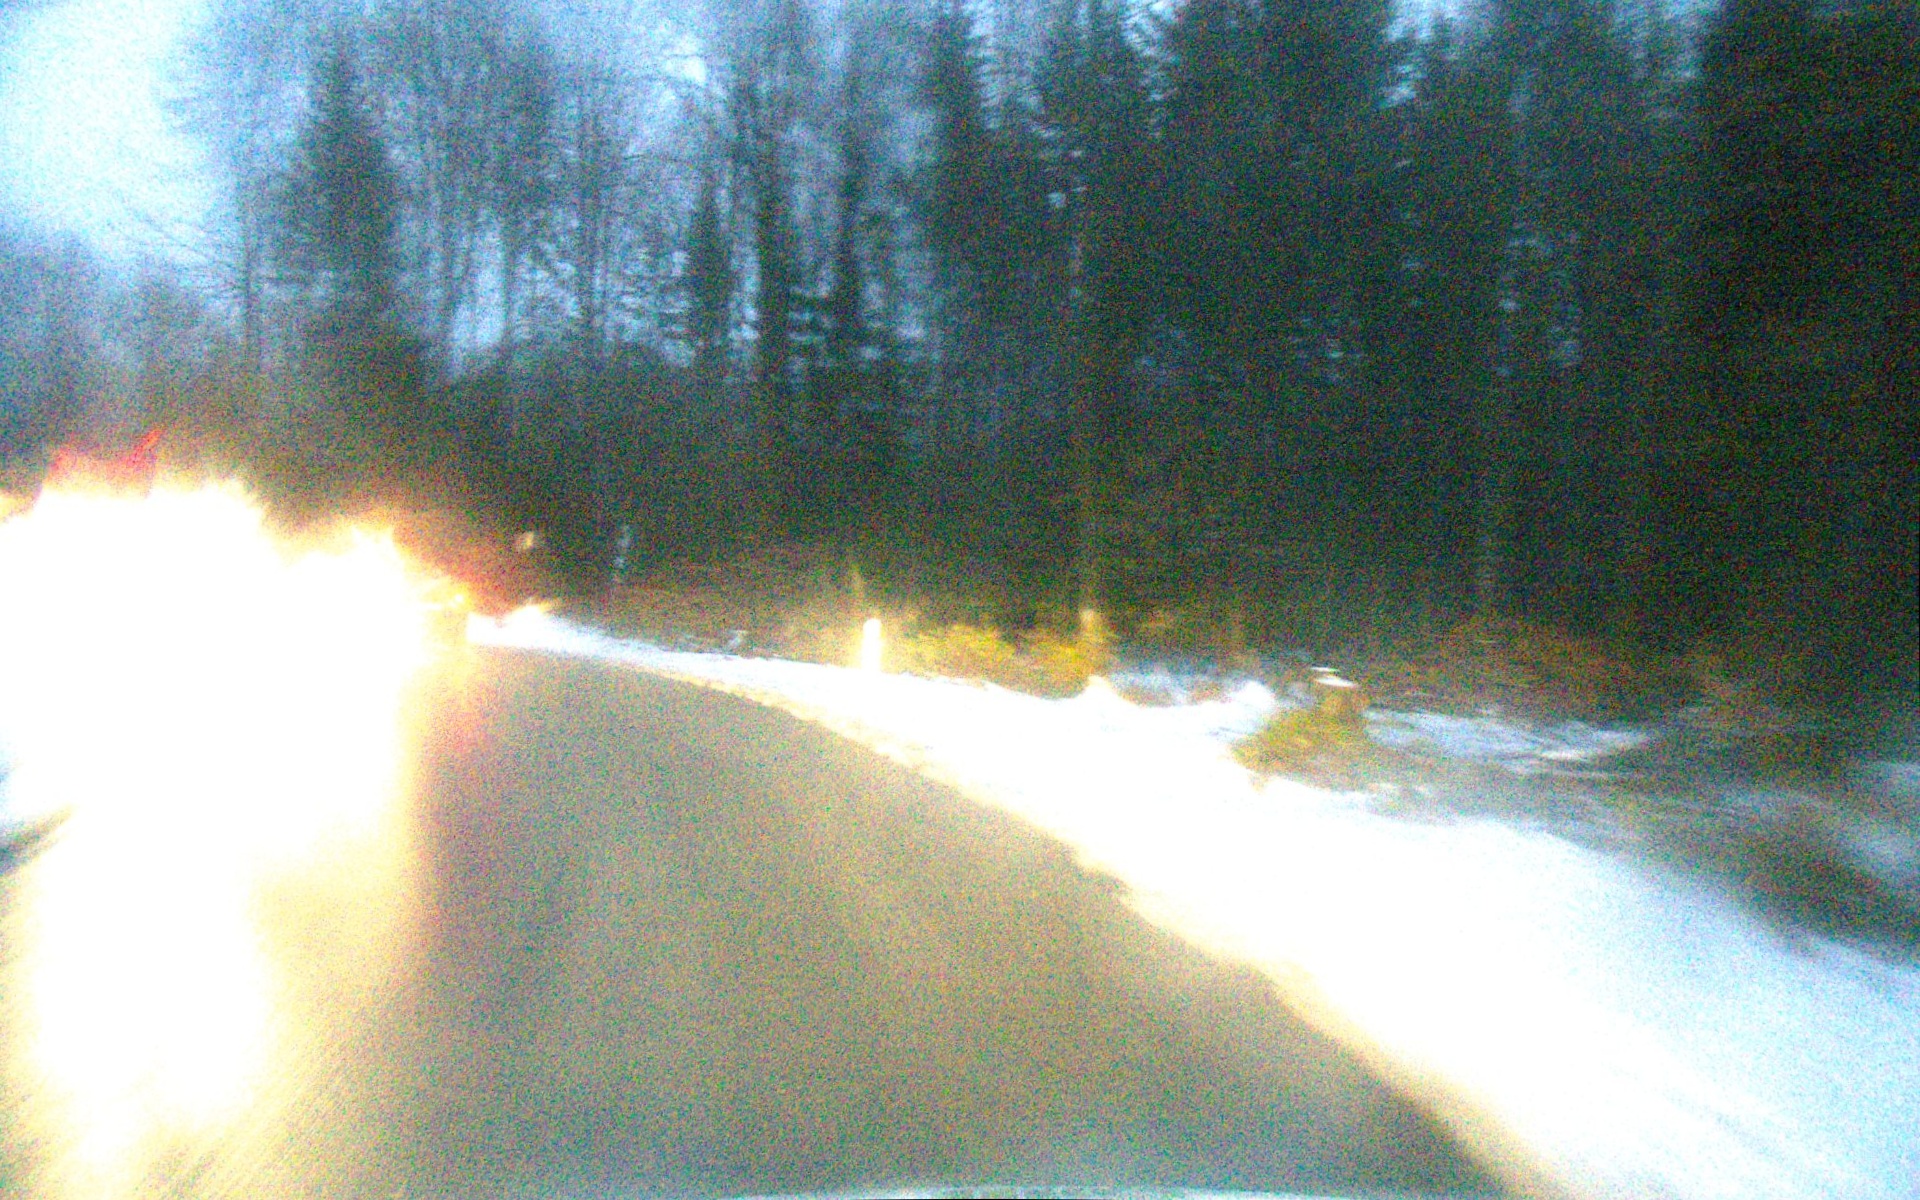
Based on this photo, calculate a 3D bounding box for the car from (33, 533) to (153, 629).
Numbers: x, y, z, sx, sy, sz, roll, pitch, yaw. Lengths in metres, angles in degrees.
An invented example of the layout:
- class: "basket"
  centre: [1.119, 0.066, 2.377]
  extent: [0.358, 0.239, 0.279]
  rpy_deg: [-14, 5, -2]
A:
- class: "car"
  centre: [-25.842, -0.573, 49.234]
  extent: [2.237, 2.691, 4.937]
  rpy_deg: [-2, 2, -38]

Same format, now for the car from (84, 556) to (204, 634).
- class: "car"
  centre: [-17.586, -0.158, 35.539]
  extent: [1.758, 1.518, 4.496]
  rpy_deg: [-3, 3, -33]

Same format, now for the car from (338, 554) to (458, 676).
- class: "car"
  centre: [-10.632, 0.269, 31.198]
  extent: [1.965, 2.087, 3.976]
  rpy_deg: [-2, 0, -20]
